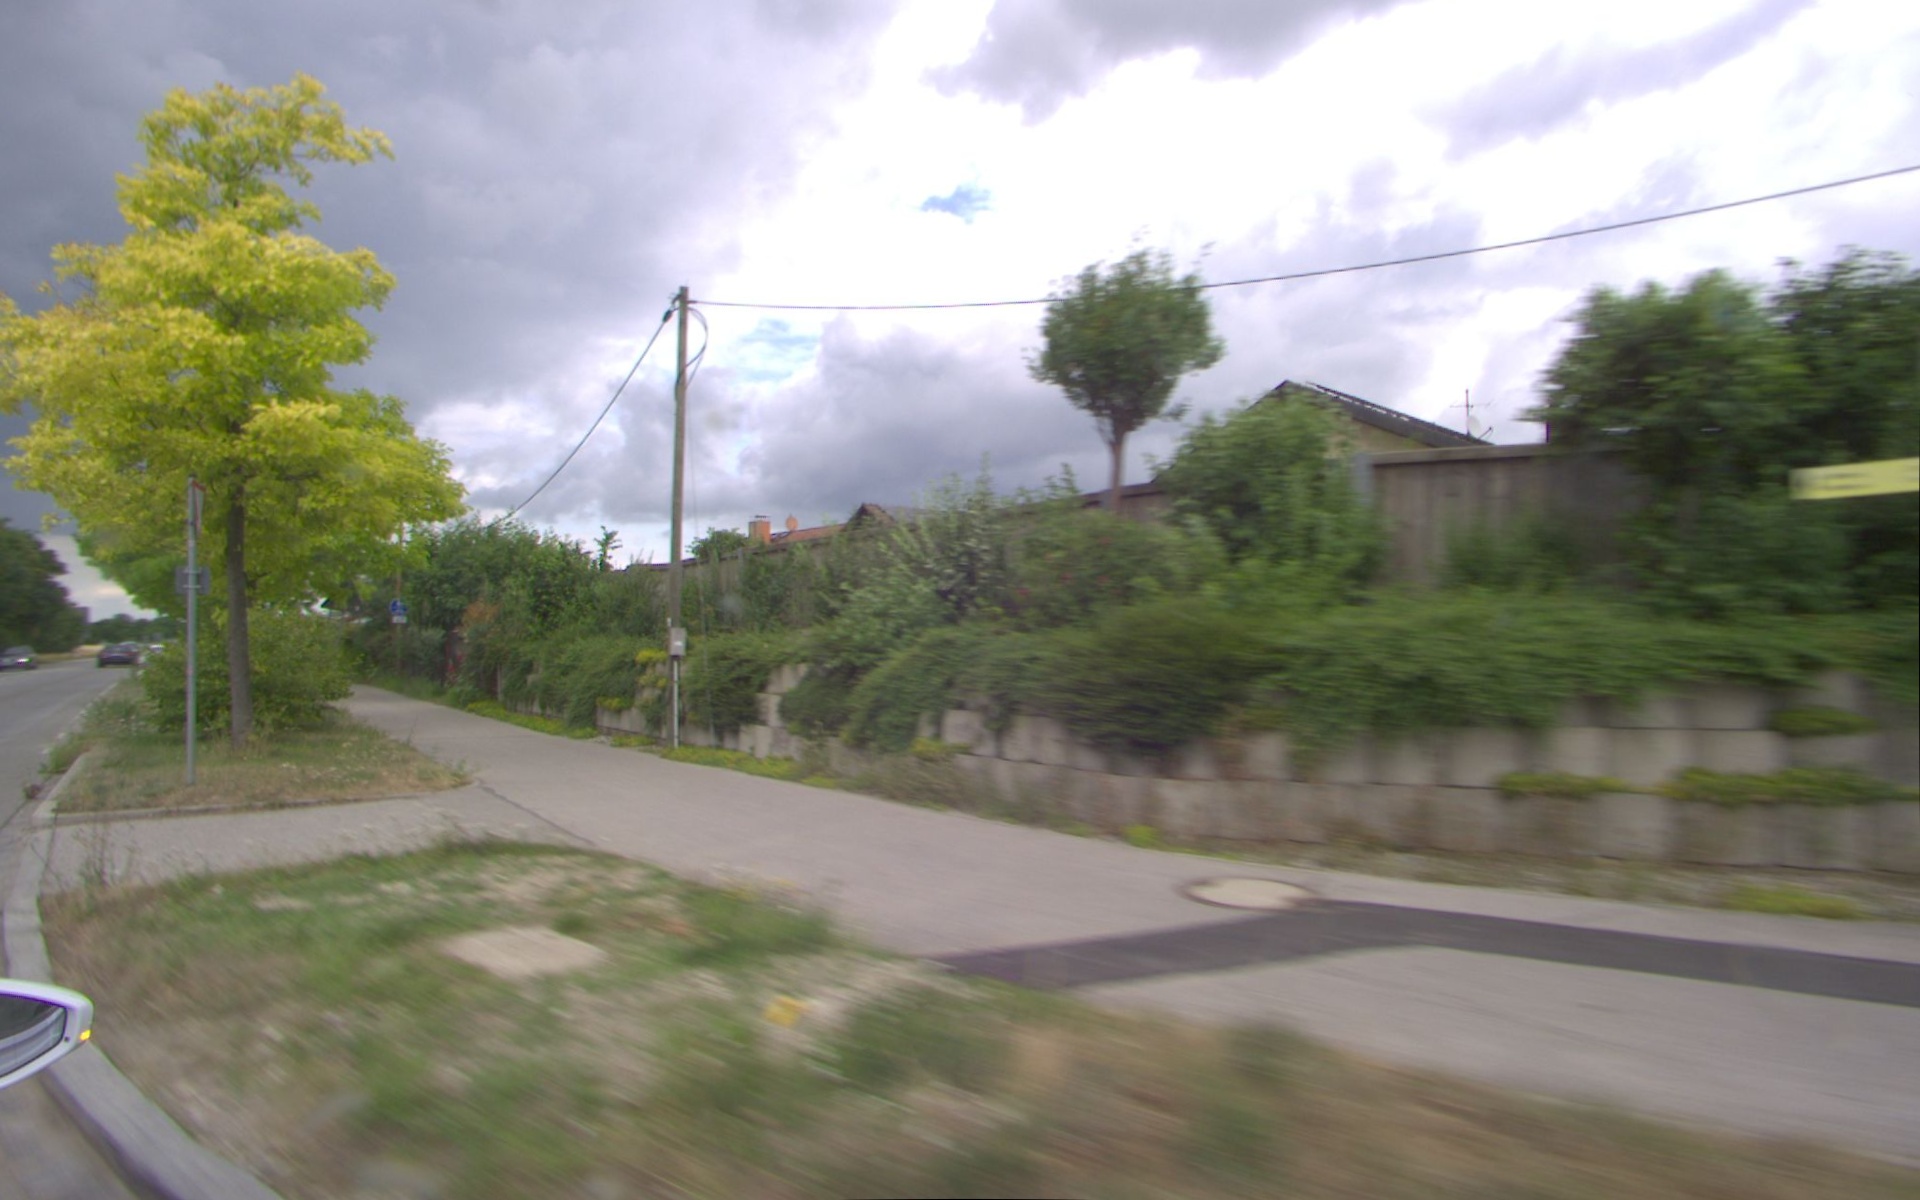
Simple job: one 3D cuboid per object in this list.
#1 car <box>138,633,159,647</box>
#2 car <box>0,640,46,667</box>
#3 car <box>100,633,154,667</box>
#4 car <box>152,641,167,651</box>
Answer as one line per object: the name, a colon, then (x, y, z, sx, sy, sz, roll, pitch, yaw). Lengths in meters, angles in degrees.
car: (-102.464, 5.102, 126.460, 1.923, 1.606, 4.522, -2, -1, -38)
car: (-54.553, 3.088, 58.025, 1.976, 1.437, 4.444, -2, -1, -38)
car: (-51.039, 3.077, 61.442, 2.351, 1.905, 4.444, -2, -1, -38)
car: (-149.332, 8.627, 186.823, 1.975, 1.705, 4.777, -1, -1, -36)
